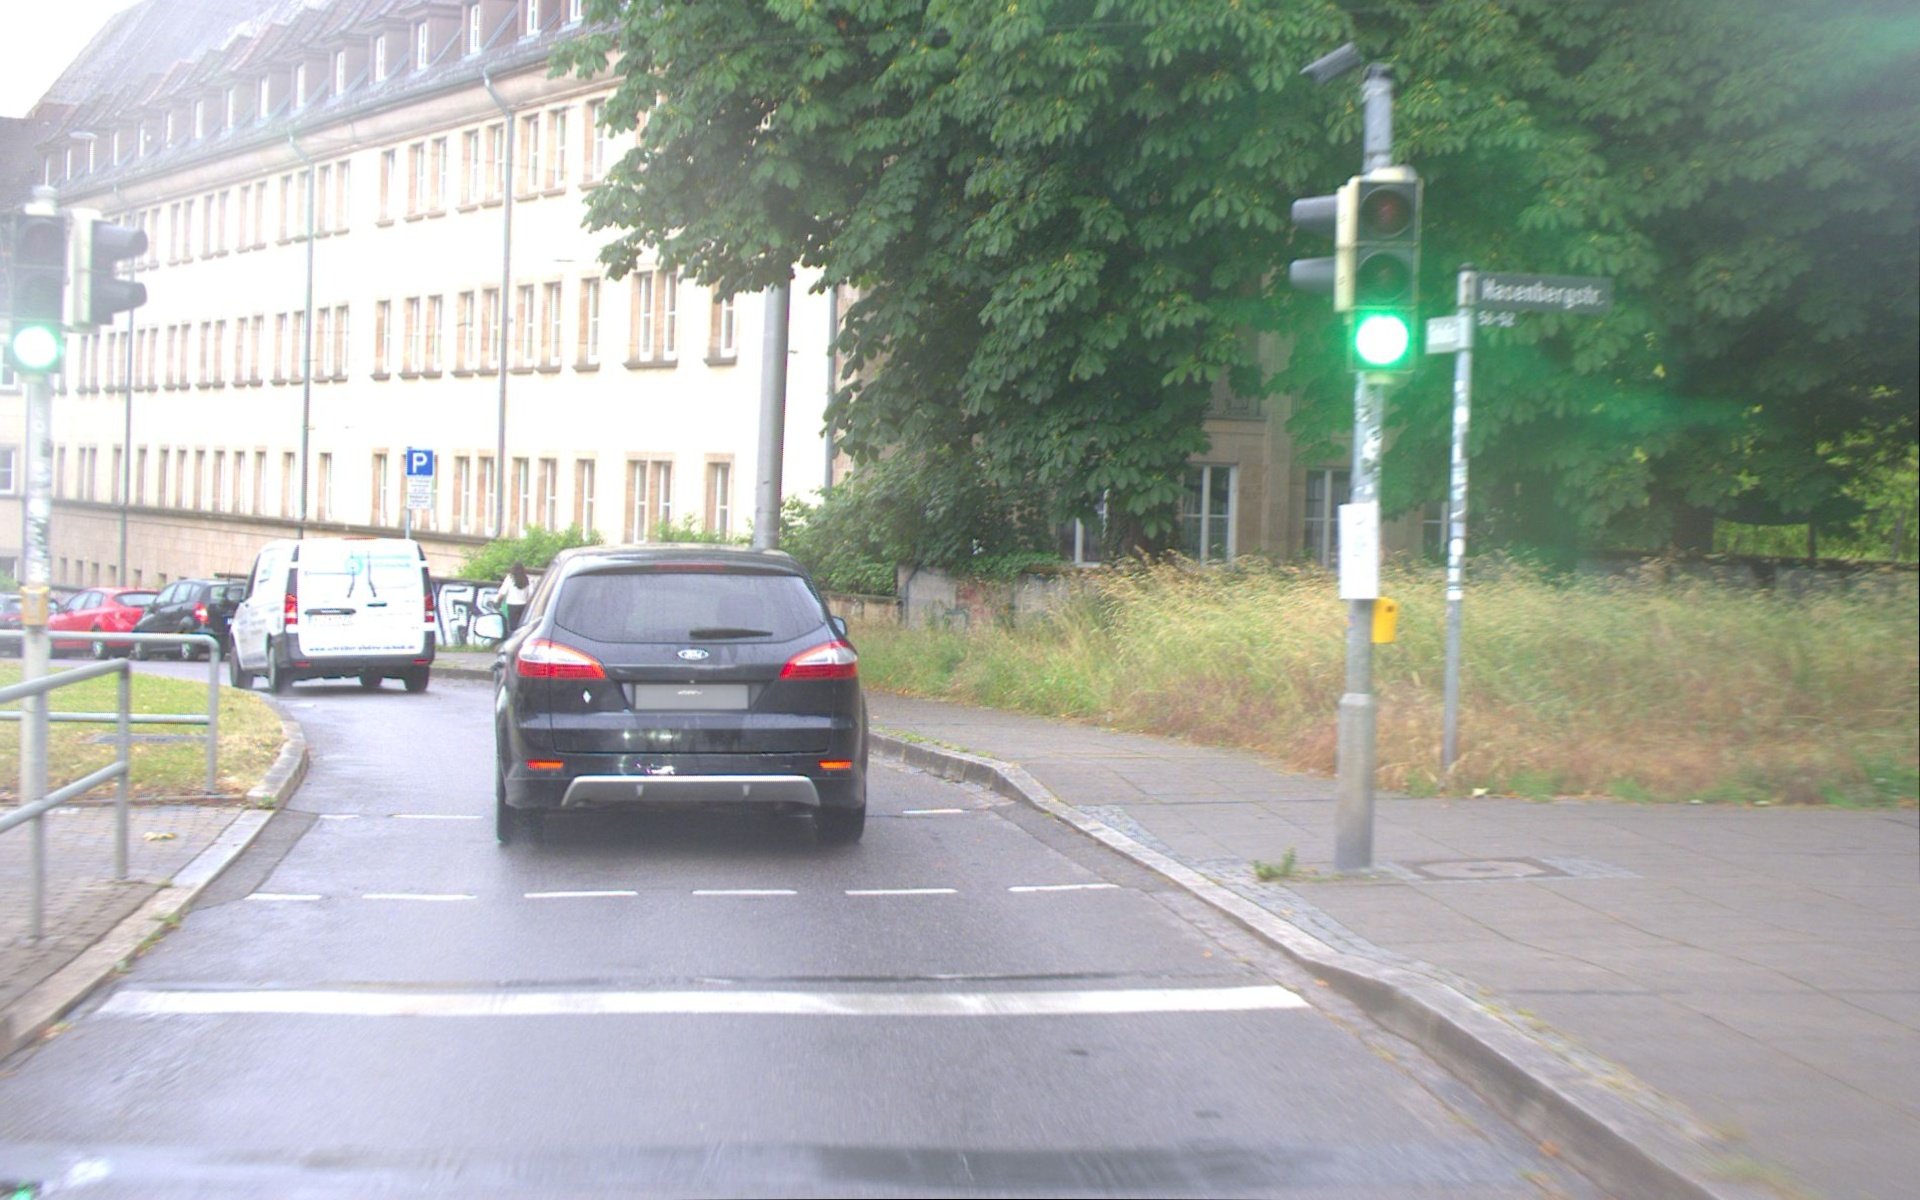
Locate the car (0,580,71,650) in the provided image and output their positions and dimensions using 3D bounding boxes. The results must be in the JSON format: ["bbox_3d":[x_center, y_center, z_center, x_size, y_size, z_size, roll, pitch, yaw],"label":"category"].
[{"bbox_3d":[-21.080,0.326,75.490,1.665,1.471,4.457,-1,0,-33],"label":"car"}]

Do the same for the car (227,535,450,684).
[{"bbox_3d":[-7.726,0.089,42.456,2.136,1.739,4.219,0,0,-18],"label":"car"}]

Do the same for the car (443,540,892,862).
[{"bbox_3d":[-1.640,0.447,17.899,1.919,1.474,4.001,0,0,-11],"label":"car"}]

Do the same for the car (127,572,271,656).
[{"bbox_3d":[-14.783,0.263,66.663,1.665,1.568,3.856,-1,0,-29],"label":"car"}]

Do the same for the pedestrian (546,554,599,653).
[{"bbox_3d":[-6.894,0.055,61.183,0.717,1.749,0.739,-1,0,-25],"label":"pedestrian"}]

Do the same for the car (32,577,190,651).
[{"bbox_3d":[-17.583,0.300,71.084,1.666,1.471,4.065,2,-1,-37],"label":"car"}]

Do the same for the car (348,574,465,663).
[{"bbox_3d":[-9.460,0.304,58.653,1.597,1.460,2.721,-1,0,-17],"label":"car"}]

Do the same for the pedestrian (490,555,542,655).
[{"bbox_3d":[-7.845,0.082,60.713,0.717,1.749,0.739,-1,0,-25],"label":"pedestrian"}]
